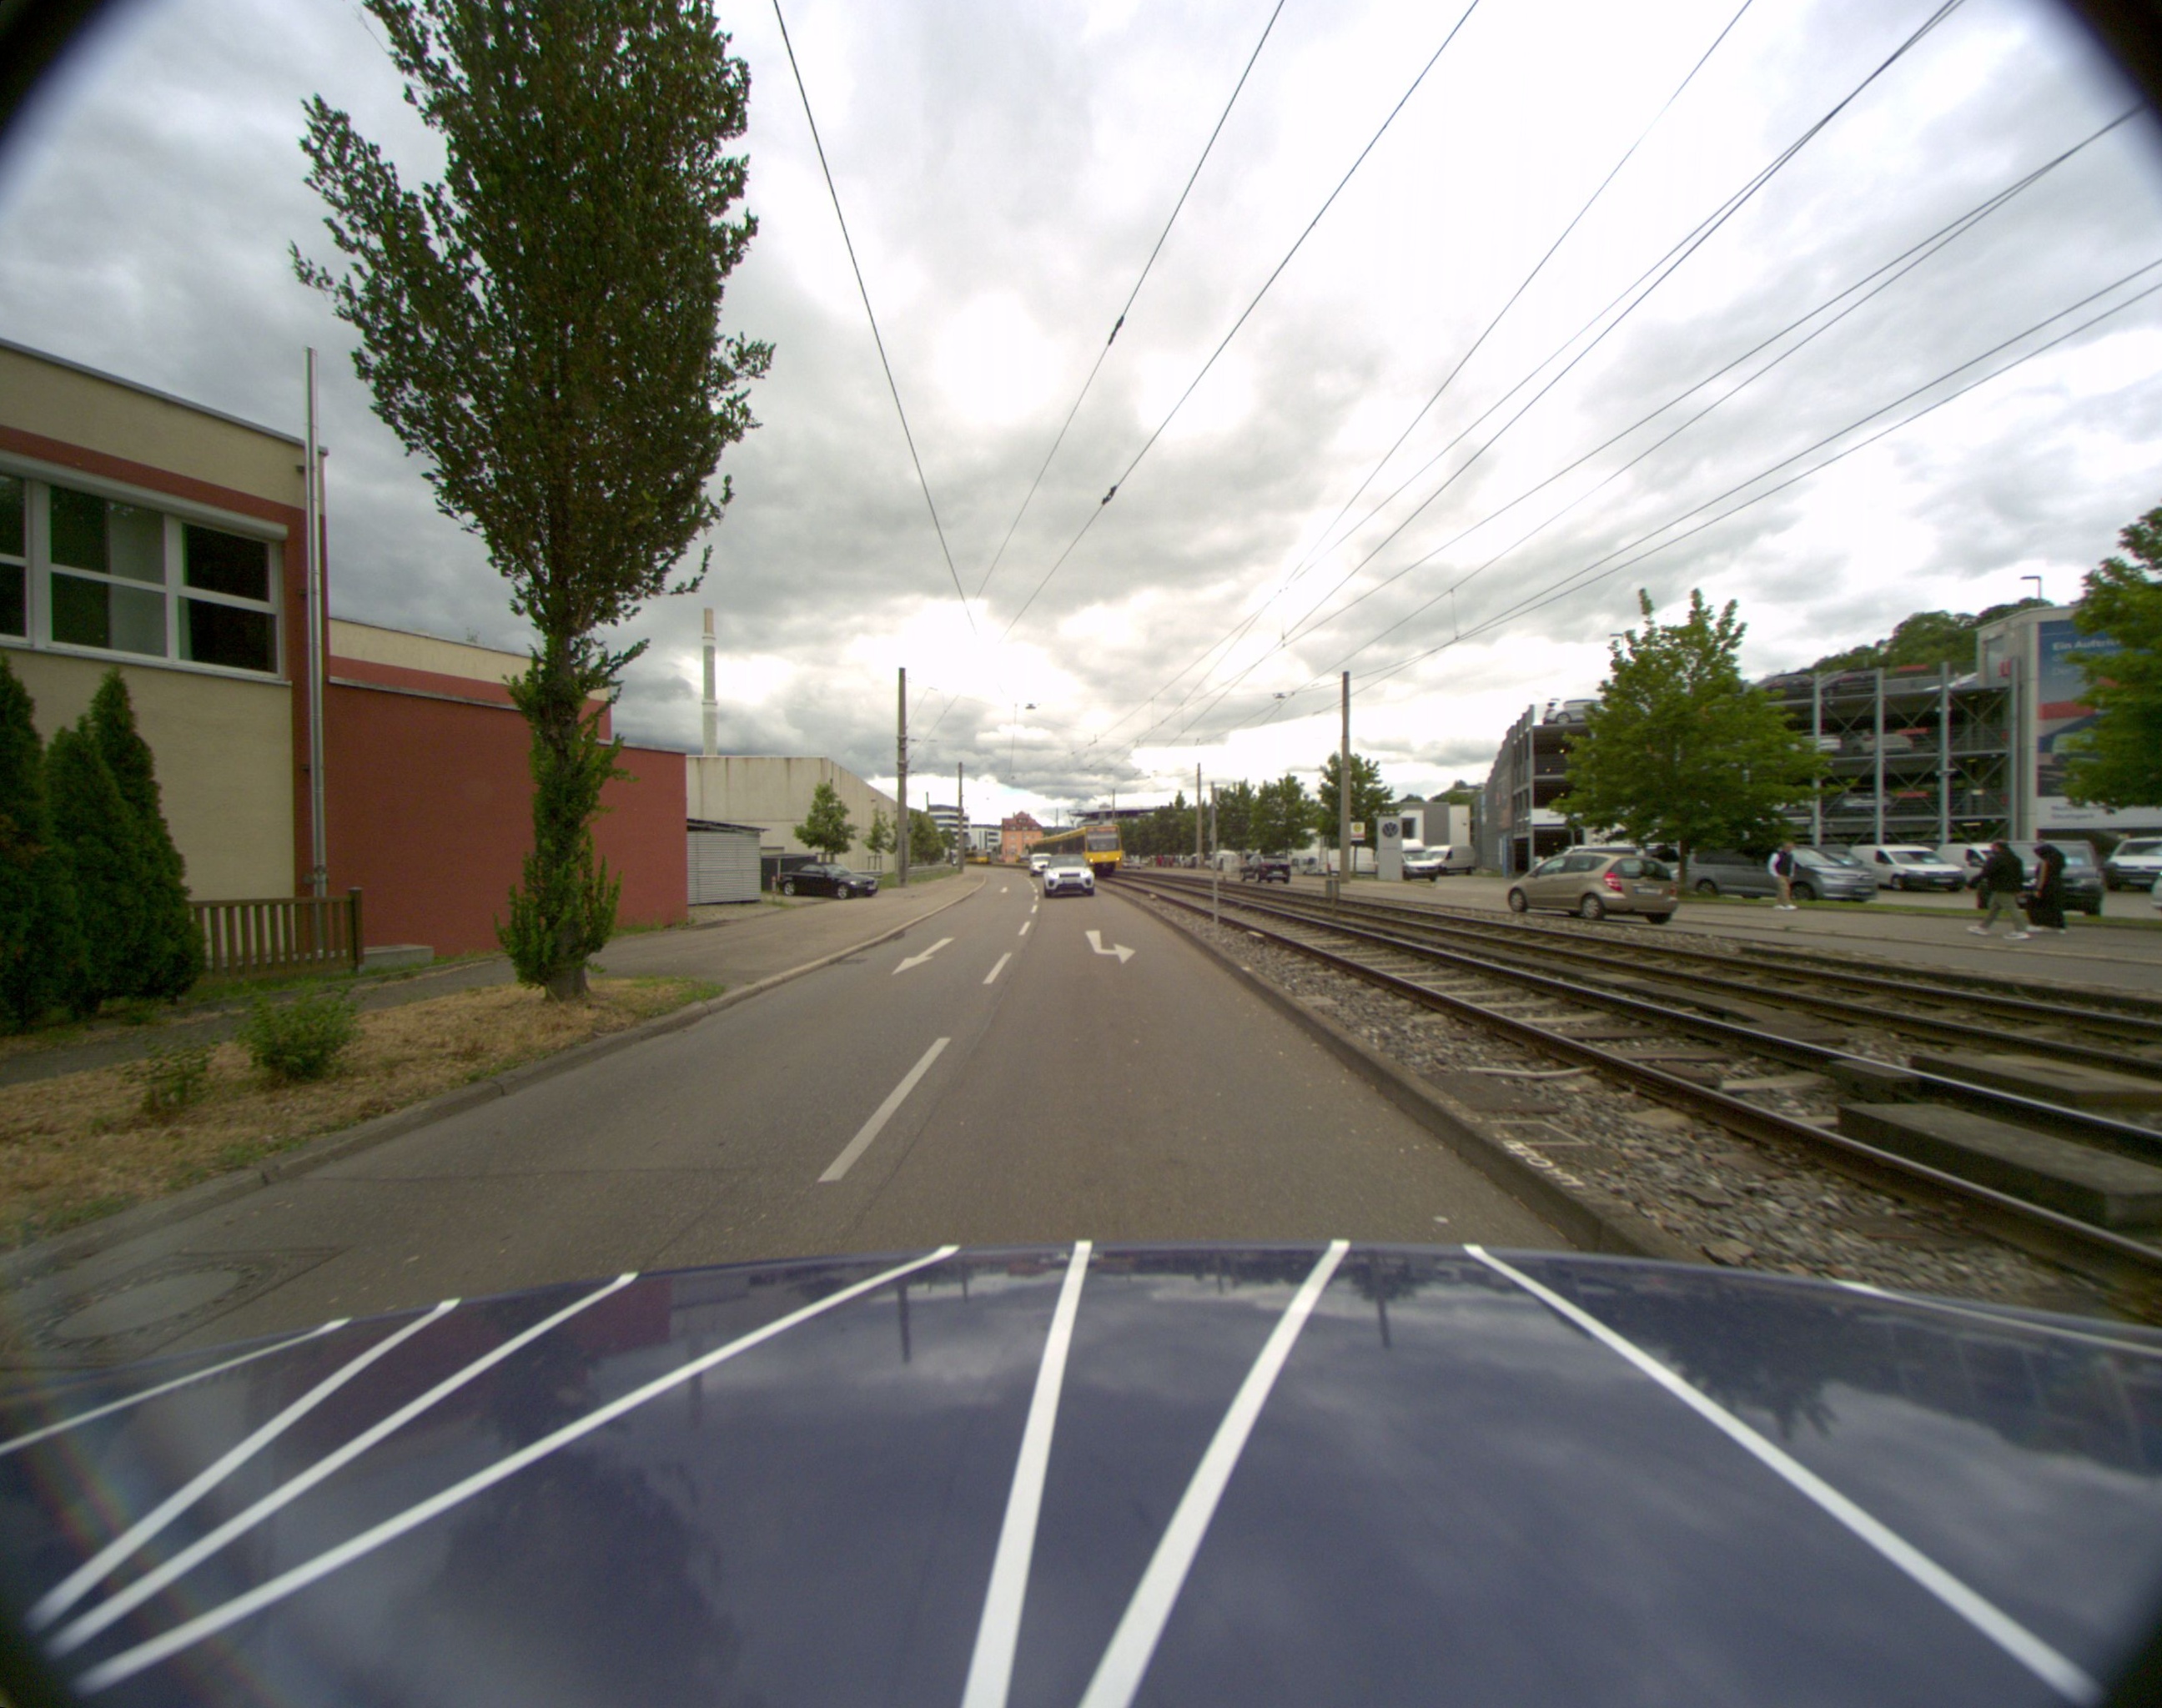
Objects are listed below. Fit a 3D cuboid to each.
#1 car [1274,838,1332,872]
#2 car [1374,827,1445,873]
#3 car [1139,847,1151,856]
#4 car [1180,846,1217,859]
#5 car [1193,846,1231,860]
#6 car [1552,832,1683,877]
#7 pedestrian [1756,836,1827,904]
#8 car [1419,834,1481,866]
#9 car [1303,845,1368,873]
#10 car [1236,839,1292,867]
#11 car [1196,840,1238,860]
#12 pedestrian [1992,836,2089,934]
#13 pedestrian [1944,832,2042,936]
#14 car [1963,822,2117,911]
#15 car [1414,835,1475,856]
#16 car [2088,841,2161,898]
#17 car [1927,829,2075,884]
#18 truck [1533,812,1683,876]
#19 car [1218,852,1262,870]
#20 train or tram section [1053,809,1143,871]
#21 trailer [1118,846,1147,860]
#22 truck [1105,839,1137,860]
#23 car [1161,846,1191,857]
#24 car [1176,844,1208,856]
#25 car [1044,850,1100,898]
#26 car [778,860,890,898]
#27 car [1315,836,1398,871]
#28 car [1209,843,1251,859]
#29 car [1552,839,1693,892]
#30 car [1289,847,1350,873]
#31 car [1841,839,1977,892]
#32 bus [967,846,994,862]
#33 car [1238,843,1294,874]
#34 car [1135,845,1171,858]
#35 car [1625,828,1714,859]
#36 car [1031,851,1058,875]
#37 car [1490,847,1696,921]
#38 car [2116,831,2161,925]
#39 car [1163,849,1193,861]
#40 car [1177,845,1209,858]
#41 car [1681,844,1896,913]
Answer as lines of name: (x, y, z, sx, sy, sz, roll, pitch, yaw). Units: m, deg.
car: (19.023, 0.061, 65.222, 4.380, 2.802, 2.002, -1, 0, -9)
car: (22.555, -0.243, 52.497, 2.114, 3.001, 5.935, -1, 0, -3)
car: (14.284, -0.598, 170.424, 1.996, 2.002, 4.004, -1, 0, 15)
car: (15.384, -0.224, 99.654, 4.379, 1.608, 2.003, -1, 0, -7)
car: (16.773, -0.155, 97.337, 4.378, 1.676, 2.003, -1, 0, -4)
car: (25.110, 0.039, 35.770, 4.719, 2.002, 2.003, -1, 0, 22)
pedestrian: (17.951, 0.401, 19.223, 0.720, 1.646, 1.041, -3, 0, -12)
car: (30.888, -0.305, 63.529, 5.964, 2.587, 1.999, -1, 0, -34)
car: (20.150, 0.410, 60.235, 4.380, 2.093, 2.002, -1, 0, -9)
car: (18.192, -0.126, 75.747, 4.982, 2.682, 2.113, -1, 0, -9)
car: (16.023, -0.504, 89.508, 4.509, 2.298, 2.124, -1, 0, -4)
pedestrian: (17.505, 0.553, 13.882, 0.630, 1.703, 0.855, -2, 0, -2)
pedestrian: (16.477, 0.523, 13.745, 0.678, 1.802, 0.855, -2, 0, -2)
car: (24.535, 0.289, 19.637, 5.083, 2.002, 2.160, 0, 0, -42)
car: (34.555, -0.805, 72.226, 4.857, 2.002, 1.999, -1, 0, -3)
car: (39.687, 0.528, 28.088, 4.283, 2.001, 1.996, -1, -1, -24)
car: (36.212, 0.110, 30.101, 1.995, 2.001, 4.475, -1, 0, 25)
truck: (26.388, -0.446, 38.380, 5.924, 3.067, 2.123, -1, 0, 24)
car: (17.785, 0.835, 85.157, 4.378, 1.936, 2.003, -1, 0, -4)
train or tram section: (0.857, -0.964, 58.617, 3.400, 3.984, 16.927, -2, 1, -11)
trailer: (6.557, -0.144, 98.263, 2.390, 1.688, 6.943, 1, 0, -7)
truck: (5.538, -0.598, 106.241, 2.765, 2.725, 9.212, 1, -1, -8)
car: (14.385, -0.332, 114.813, 4.190, 1.608, 2.062, -1, 0, -4)
car: (15.280, -0.554, 104.994, 3.998, 1.608, 1.999, -1, 0, -4)
car: (-0.397, 0.746, 30.008, 1.999, 1.717, 3.999, -2, 0, -2)
car: (-10.052, 0.990, 30.918, 4.223, 1.434, 1.766, 0, 0, 23)
car: (20.922, -0.020, 57.808, 5.489, 2.587, 2.245, -1, 0, -5)
car: (17.081, -0.326, 87.310, 4.378, 1.834, 2.003, -1, 0, -4)
car: (22.300, 0.456, 31.583, 2.000, 2.002, 4.916, -1, 0, -7)
car: (19.701, 0.485, 62.781, 4.380, 2.093, 2.002, -1, 0, -9)
car: (33.675, 0.466, 31.101, 1.995, 2.001, 4.475, -1, 0, 21)
bus: (-26.367, -0.103, 198.476, 3.566, 3.930, 10.470, -3, 1, -26)
car: (10.144, 0.246, 42.015, 1.692, 1.523, 4.254, 2, 0, -5)
car: (11.972, -0.402, 126.271, 5.704, 1.996, 2.146, 0, 0, 13)
car: (38.021, -0.641, 49.242, 2.000, 1.892, 4.461, -1, 0, -8)
car: (-2.998, 0.727, 61.477, 1.999, 1.881, 4.625, -1, 0, -5)
car: (12.133, 0.661, 18.420, 1.896, 1.523, 4.255, 2, 0, -3)
car: (24.263, 0.439, 15.043, 5.071, 1.877, 2.165, -1, 0, -6)
car: (14.302, 0.146, 112.238, 3.998, 1.654, 2.047, -1, 0, -4)
car: (15.030, -0.357, 102.025, 3.998, 1.608, 1.999, -1, 0, -4)
car: (22.962, 0.737, 25.032, 2.000, 2.002, 5.127, -1, 0, -7)
